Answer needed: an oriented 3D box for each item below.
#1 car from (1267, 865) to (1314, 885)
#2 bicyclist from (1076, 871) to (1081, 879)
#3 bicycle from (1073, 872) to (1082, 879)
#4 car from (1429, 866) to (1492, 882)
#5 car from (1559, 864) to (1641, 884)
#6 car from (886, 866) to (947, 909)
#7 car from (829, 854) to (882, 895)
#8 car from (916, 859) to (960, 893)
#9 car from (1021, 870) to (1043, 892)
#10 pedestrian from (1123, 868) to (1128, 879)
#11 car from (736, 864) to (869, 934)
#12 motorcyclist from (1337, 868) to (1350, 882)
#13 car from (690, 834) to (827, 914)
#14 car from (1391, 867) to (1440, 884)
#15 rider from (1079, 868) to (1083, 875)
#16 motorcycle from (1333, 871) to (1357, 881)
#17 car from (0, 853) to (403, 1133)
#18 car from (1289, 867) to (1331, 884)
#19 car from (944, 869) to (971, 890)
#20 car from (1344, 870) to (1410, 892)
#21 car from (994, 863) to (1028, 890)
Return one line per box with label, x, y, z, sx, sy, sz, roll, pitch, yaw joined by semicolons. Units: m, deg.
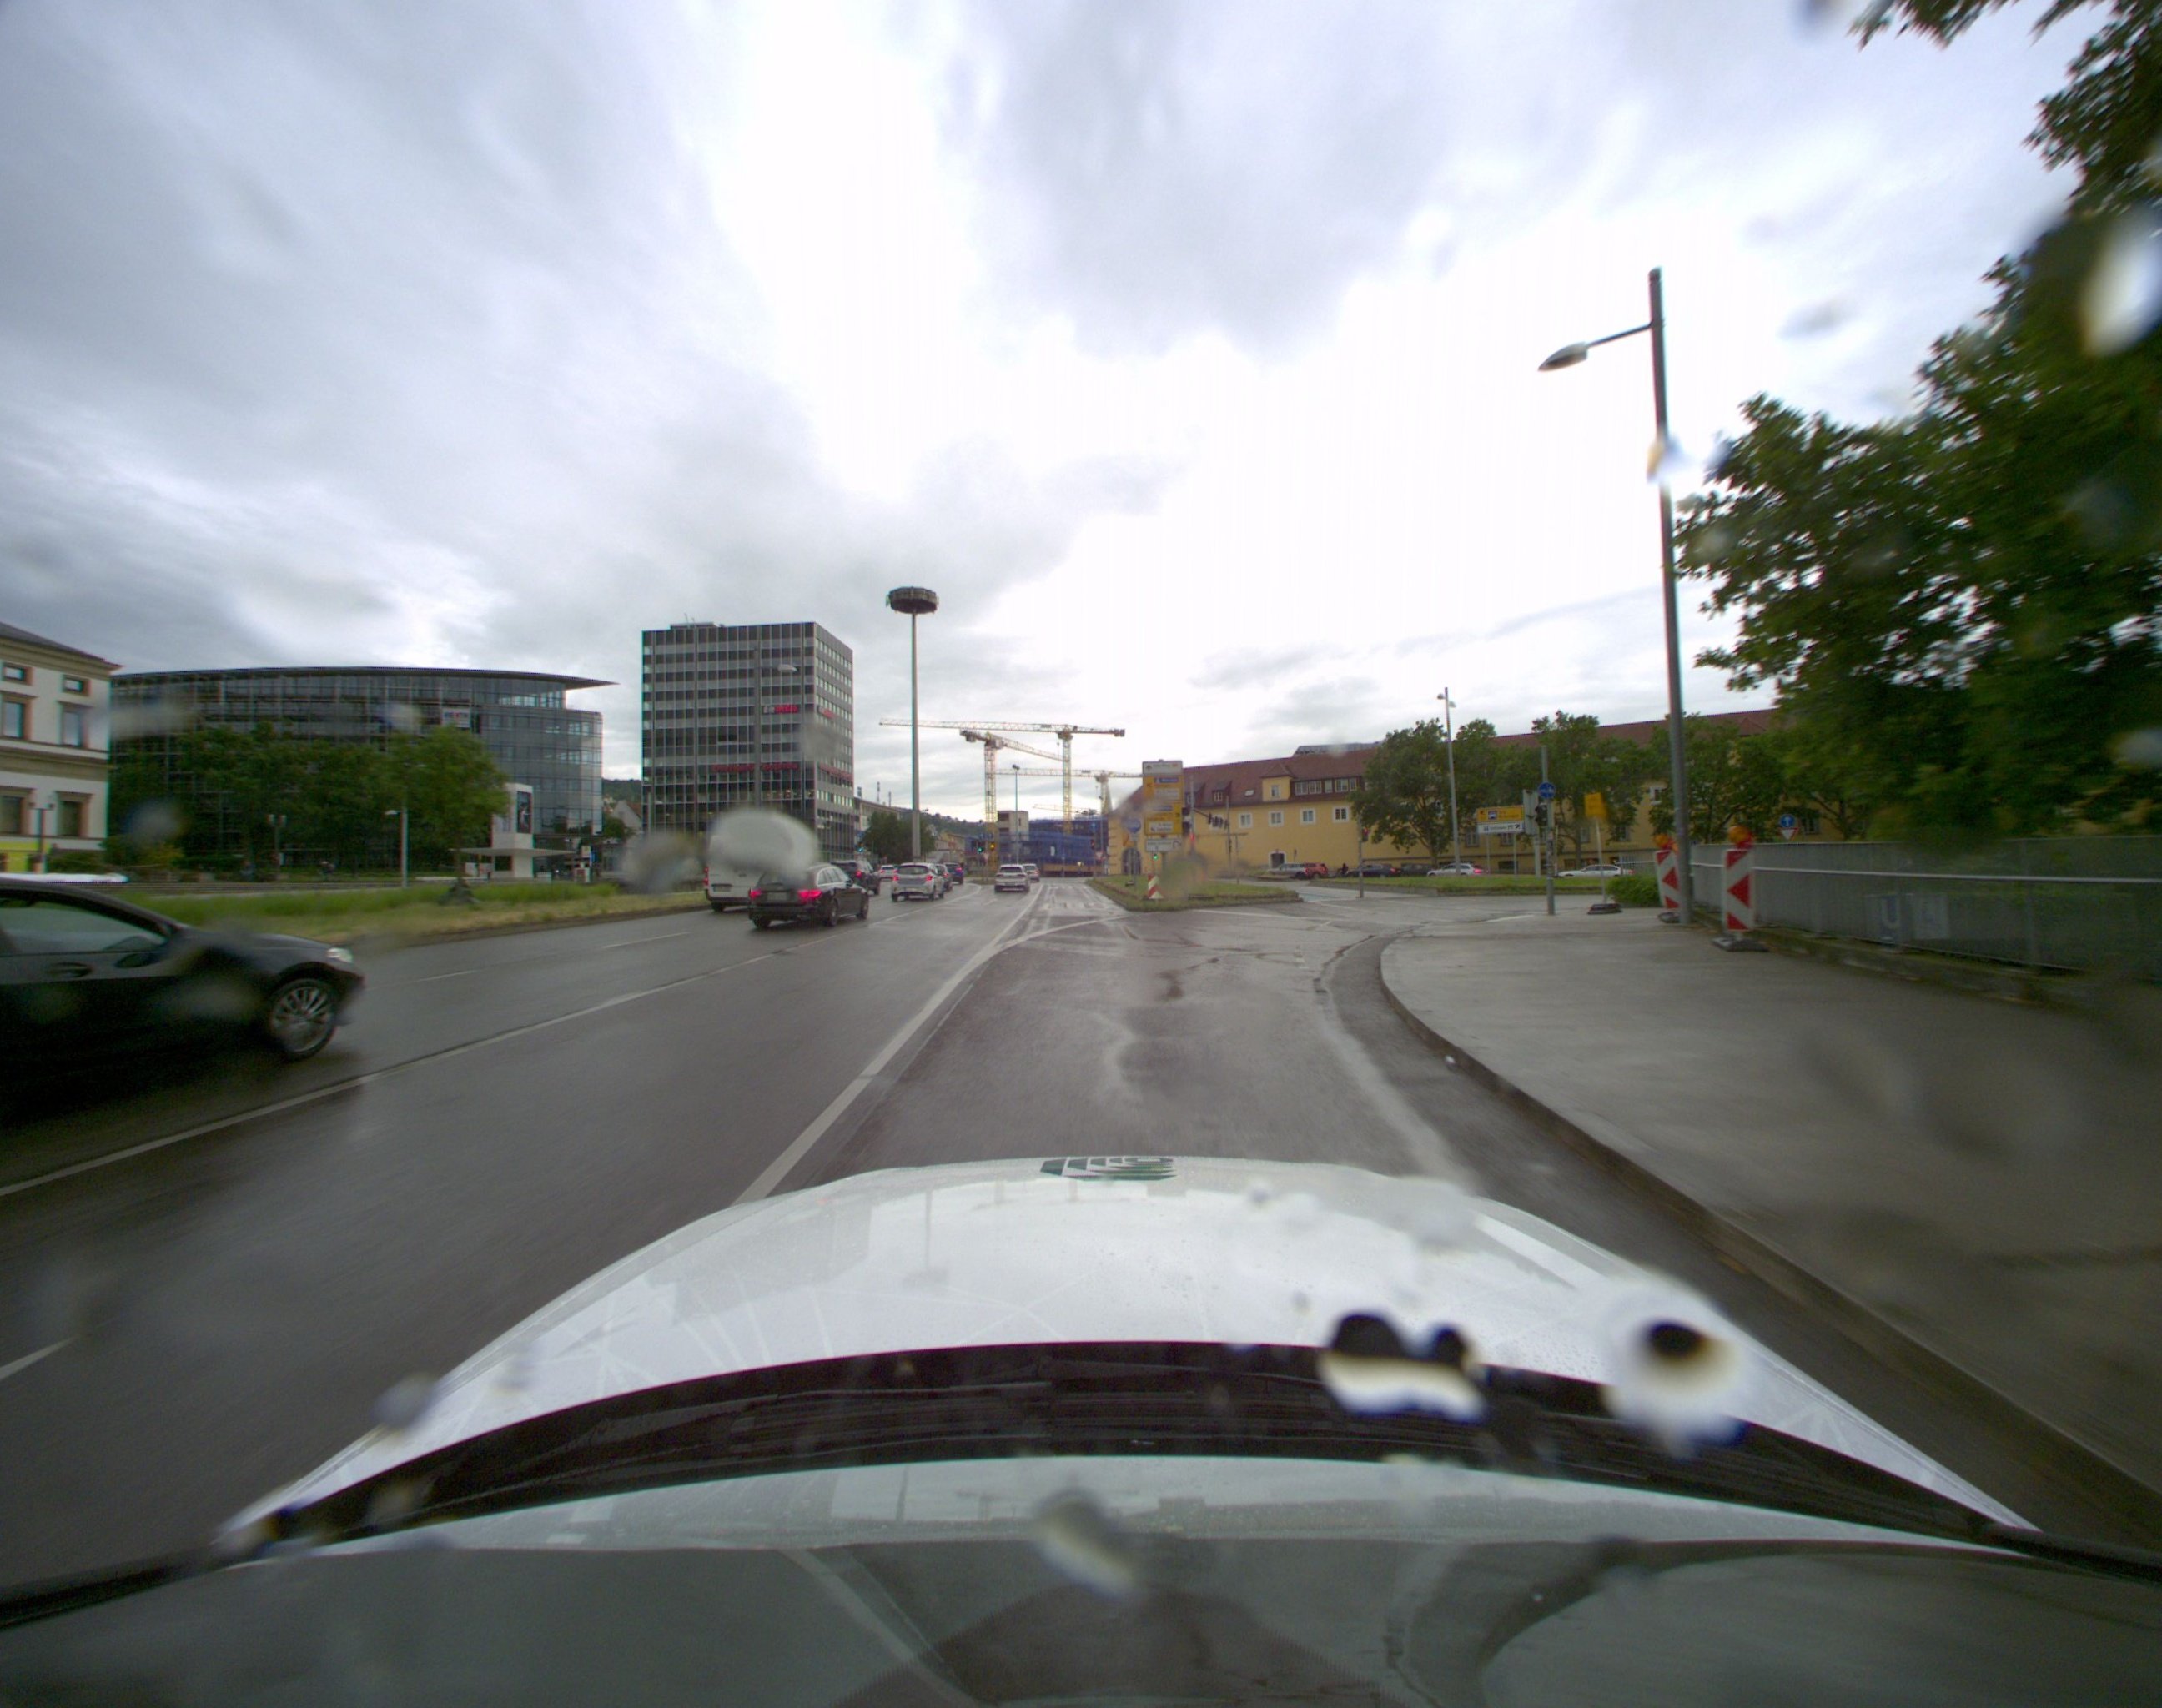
car;17.279;1.754;67.166;3.370;1.482;1.845;-2;-4;26
bicyclist;-0.372;3.167;123.882;0.705;1.276;0.631;1;-4;-16
bicycle;-0.581;3.332;124.143;0.882;1.010;1.982;1;-4;-15
car;29.792;1.582;64.088;1.547;1.140;4.333;2;-4;-32
car;40.022;1.560;62.919;5.234;1.362;1.567;-2;-4;33
car;-6.649;1.386;33.264;1.876;1.653;3.454;0;-3;-2
car;-9.907;0.951;35.968;1.460;1.707;3.138;0;-4;-1
car;-7.699;1.235;44.238;1.710;1.728;3.493;0;-3;0
car;-4.002;2.173;66.023;1.665;1.742;3.280;1;-1;-6
pedestrian;5.647;2.490;102.710;0.450;1.368;0.447;-3;-5;39
car;-6.459;0.999;19.295;1.822;1.495;3.401;0;-1;2
motorcyclist;23.640;1.897;73.355;1.066;1.273;0.695;-1;-4;21
car;-10.208;0.735;26.309;2.284;2.315;5.005;0;-3;1
car;28.647;1.871;69.766;3.560;1.337;1.587;-2;-4;36
rider;-0.057;2.779;131.022;0.616;1.039;0.533;0;-4;2
motorcycle;23.776;1.958;73.342;1.946;0.853;0.548;-1;-4;22
car;-6.564;0.743;4.699;1.748;1.471;4.220;0;-2;-1
car;20.264;1.925;72.031;3.368;1.472;1.662;-1;-4;24
car;-8.865;1.844;58.600;1.488;1.370;3.032;0;-3;0
car;24.835;2.283;68.451;4.756;1.709;2.012;-3;-5;43
car;-3.681;1.211;43.040;1.438;1.359;2.413;0;-4;3
